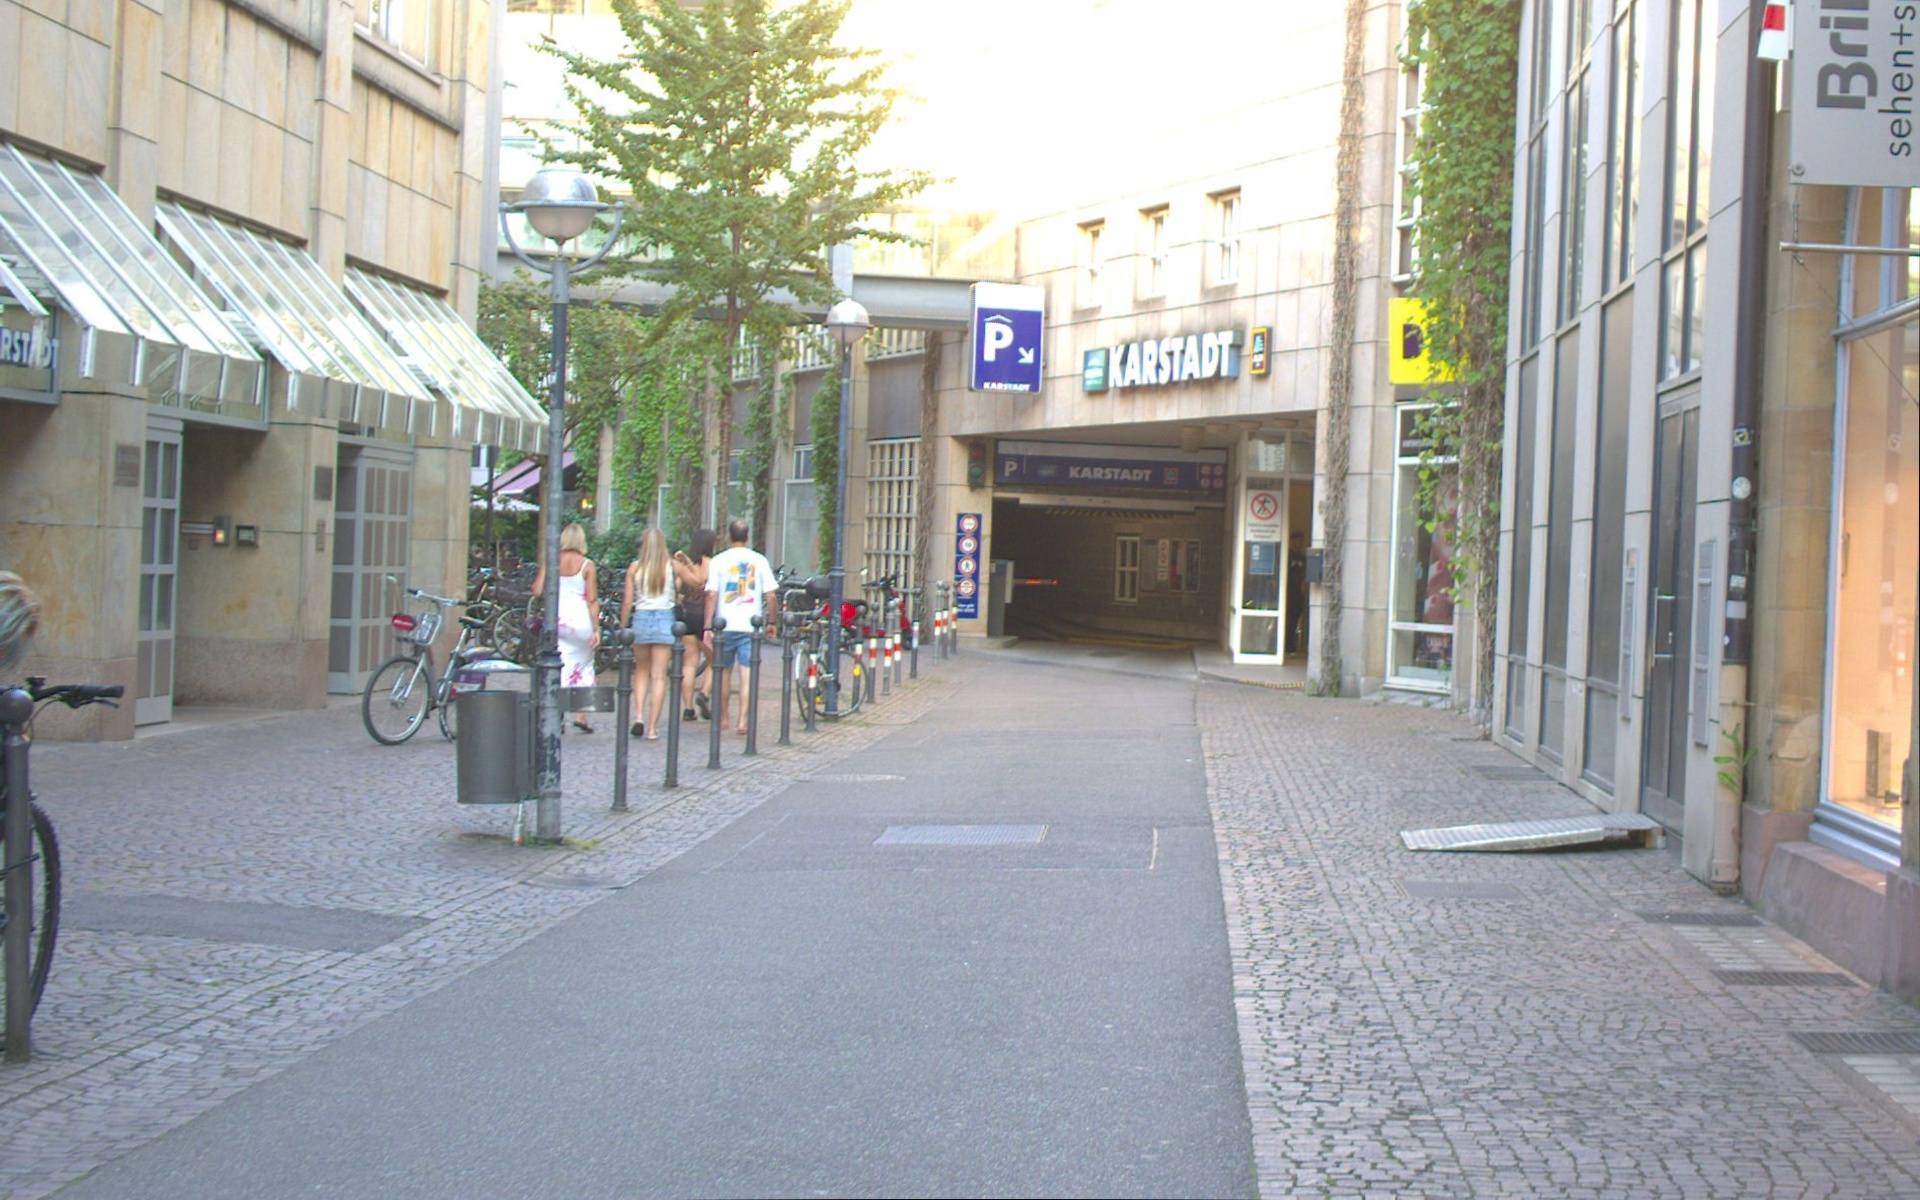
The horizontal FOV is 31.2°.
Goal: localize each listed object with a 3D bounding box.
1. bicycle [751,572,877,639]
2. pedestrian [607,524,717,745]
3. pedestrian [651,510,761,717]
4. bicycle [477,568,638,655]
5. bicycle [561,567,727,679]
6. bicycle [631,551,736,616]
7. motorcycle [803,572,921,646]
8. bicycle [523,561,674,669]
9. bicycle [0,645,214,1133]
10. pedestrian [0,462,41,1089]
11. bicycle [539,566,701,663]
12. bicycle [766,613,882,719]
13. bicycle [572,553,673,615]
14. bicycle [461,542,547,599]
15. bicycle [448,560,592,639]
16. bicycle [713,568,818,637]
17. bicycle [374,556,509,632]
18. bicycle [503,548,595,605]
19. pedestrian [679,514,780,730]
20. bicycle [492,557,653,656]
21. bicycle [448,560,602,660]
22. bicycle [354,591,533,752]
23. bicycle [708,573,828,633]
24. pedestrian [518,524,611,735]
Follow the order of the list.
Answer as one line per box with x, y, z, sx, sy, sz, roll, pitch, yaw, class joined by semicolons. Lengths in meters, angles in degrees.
-2.235;0.089;52.614;1.847;0.978;0.464;1;1;-17;bicycle
-2.400;0.267;27.649;0.806;1.723;0.949;2;1;-6;pedestrian
-2.262;0.111;30.676;0.785;1.789;0.972;2;1;5;pedestrian
-4.995;0.143;42.630;1.893;1.048;0.534;1;1;-19;bicycle
-3.575;0.261;38.886;1.766;1.226;0.534;1;1;-19;bicycle
-4.937;-0.293;61.440;1.773;1.110;0.543;1;1;-17;bicycle
-1.448;0.136;50.939;1.662;1.047;0.464;1;1;-17;motorcycle
-4.223;0.179;40.204;1.653;1.226;0.534;1;1;-19;bicycle
-2.594;0.741;9.303;0.533;1.150;1.914;4;1;4;bicycle
-2.969;0.465;9.151;0.768;1.712;0.592;4;1;3;pedestrian
-4.063;0.173;41.088;1.836;1.118;0.534;1;1;-19;bicycle
-1.263;0.604;32.296;0.493;0.935;1.658;3;1;18;bicycle
-6.267;-0.294;63.779;1.773;1.110;0.543;1;1;-17;bicycle
-9.950;-0.644;74.980;1.773;1.186;0.586;1;1;-17;bicycle
-6.038;-0.007;47.156;1.876;1.039;0.534;1;1;-19;bicycle
-3.086;0.034;54.468;1.539;1.045;0.575;1;1;-17;bicycle
-7.391;-0.083;48.996;1.824;1.039;0.534;1;1;-19;bicycle
-8.335;-0.484;69.685;1.773;1.110;0.543;1;1;-14;bicycle
-1.976;0.180;29.548;0.742;1.816;0.878;2;1;2;pedestrian
-4.741;0.082;42.083;1.872;1.173;0.534;1;1;-19;bicycle
-5.478;0.125;43.333;1.833;1.221;0.534;1;1;-19;bicycle
-3.830;0.508;25.621;0.522;1.134;1.763;2;1;19;bicycle
-2.988;0.047;53.511;1.773;0.901;0.464;1;1;-17;bicycle
-3.186;0.225;27.753;0.674;1.659;0.860;2;1;-5;pedestrian
